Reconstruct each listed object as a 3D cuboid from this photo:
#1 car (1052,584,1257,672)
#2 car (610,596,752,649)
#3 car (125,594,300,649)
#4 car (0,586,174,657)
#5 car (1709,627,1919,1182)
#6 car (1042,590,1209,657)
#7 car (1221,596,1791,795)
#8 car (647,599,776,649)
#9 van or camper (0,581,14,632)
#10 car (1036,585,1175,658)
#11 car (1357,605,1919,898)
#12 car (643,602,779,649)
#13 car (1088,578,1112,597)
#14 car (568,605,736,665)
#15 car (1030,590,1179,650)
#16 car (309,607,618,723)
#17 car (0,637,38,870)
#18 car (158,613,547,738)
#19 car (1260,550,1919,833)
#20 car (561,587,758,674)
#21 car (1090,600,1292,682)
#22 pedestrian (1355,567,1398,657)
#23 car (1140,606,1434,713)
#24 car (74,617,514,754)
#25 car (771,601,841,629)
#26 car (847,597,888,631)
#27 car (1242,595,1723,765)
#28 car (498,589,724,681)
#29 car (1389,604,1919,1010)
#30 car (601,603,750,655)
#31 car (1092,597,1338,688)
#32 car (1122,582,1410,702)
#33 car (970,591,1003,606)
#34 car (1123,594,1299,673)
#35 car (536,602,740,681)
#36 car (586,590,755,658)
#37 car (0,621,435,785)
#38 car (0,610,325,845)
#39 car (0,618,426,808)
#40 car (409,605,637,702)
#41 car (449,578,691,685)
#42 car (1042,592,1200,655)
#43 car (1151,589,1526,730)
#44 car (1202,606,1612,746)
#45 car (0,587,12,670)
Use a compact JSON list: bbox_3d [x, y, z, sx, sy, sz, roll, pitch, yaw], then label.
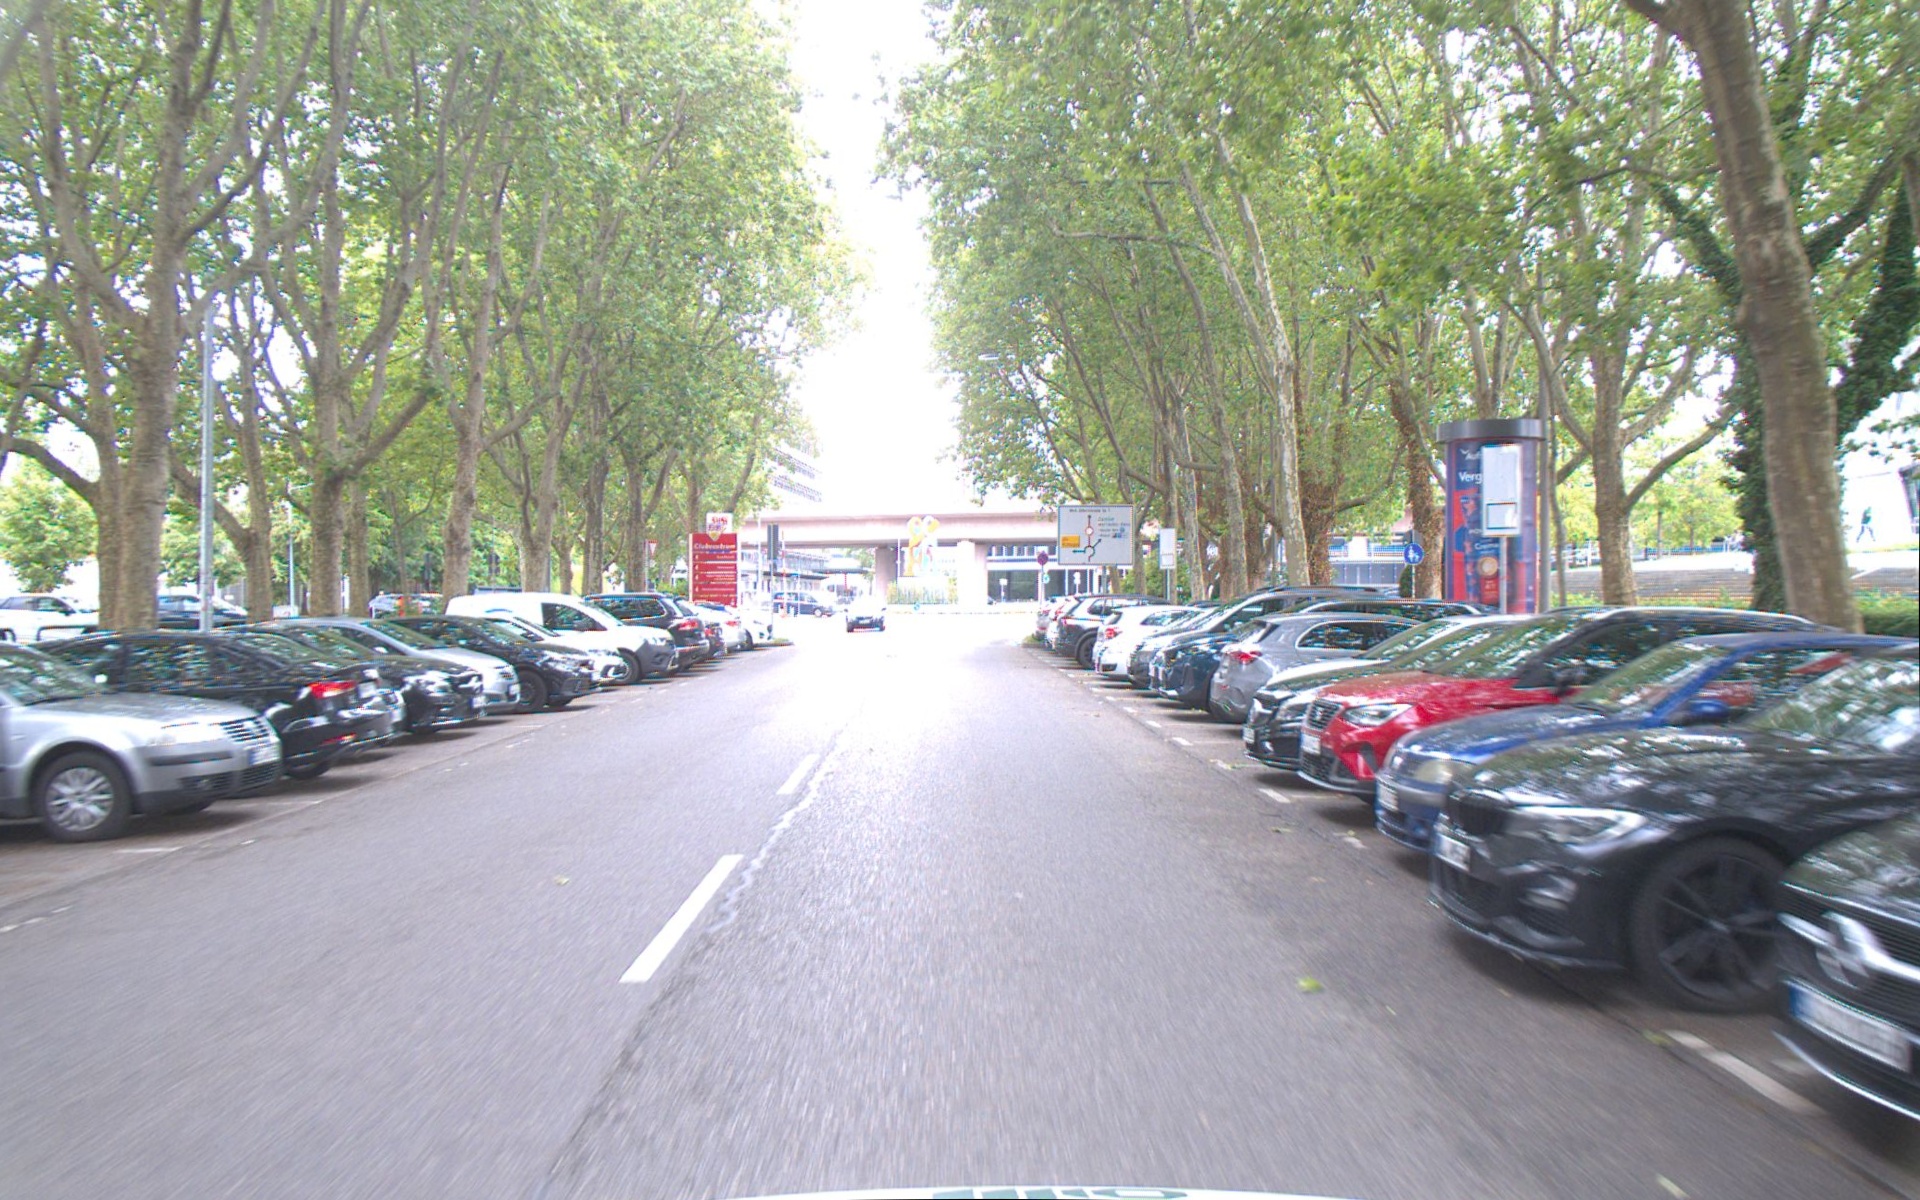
[{"bbox_3d":[4.279,0.608,36.823,4.259,1.791,1.925,1,0,-2],"label":"car"},{"bbox_3d":[-8.294,0.674,49.427,3.912,1.520,1.832,1,-1,-1],"label":"car"},{"bbox_3d":[-22.393,0.649,49.692,4.233,1.575,2.203,1,0,-2],"label":"car"},{"bbox_3d":[-22.797,0.549,42.405,4.233,1.739,2.131,1,-1,-2],"label":"car"},{"bbox_3d":[4.452,0.840,4.648,3.901,1.415,1.739,1,0,1],"label":"car"},{"bbox_3d":[4.384,0.605,44.352,4.257,1.662,1.925,1,0,0],"label":"car"},{"bbox_3d":[4.595,0.785,14.296,4.263,1.528,1.923,1,0,-7],"label":"car"},{"bbox_3d":[-8.131,0.778,54.372,3.911,1.567,1.805,1,-1,1],"label":"car"},{"bbox_3d":[-34.769,0.188,55.950,4.233,1.739,2.131,1,-1,-2],"label":"van or camper"},{"bbox_3d":[4.282,0.623,49.160,3.905,2.049,2.000,1,0,0],"label":"car"},{"bbox_3d":[4.680,0.800,9.417,4.402,1.444,1.829,1,0,1],"label":"car"},{"bbox_3d":[-7.780,0.798,51.966,3.910,1.409,1.912,0,0,3],"label":"car"},{"bbox_3d":[15.841,-1.375,187.280,1.951,2.049,4.002,0,0,17],"label":"car"},{"bbox_3d":[-7.713,0.873,41.672,3.906,1.429,1.885,1,0,-2],"label":"car"},{"bbox_3d":[4.256,0.570,49.319,4.257,1.662,1.925,1,0,0],"label":"car"},{"bbox_3d":[-7.160,0.917,24.104,3.896,1.445,1.756,-3,0,2],"label":"car"},{"bbox_3d":[-7.703,0.994,9.391,3.852,1.388,1.826,-2,0,-2],"label":"car"},{"bbox_3d":[-7.861,0.957,21.715,4.373,1.393,1.879,-2,0,-1],"label":"car"},{"bbox_3d":[4.638,0.620,12.034,4.410,1.828,2.044,1,0,-7],"label":"car"},{"bbox_3d":[-6.989,0.695,38.796,4.229,1.841,1.867,-2,0,-1],"label":"car"},{"bbox_3d":[4.406,0.775,31.816,3.567,1.452,1.664,1,0,-4],"label":"car"},{"bbox_3d":[9.658,0.281,38.385,0.772,2.049,0.596,1,-1,-17],"label":"pedestrian"},{"bbox_3d":[4.745,0.851,24.378,3.958,1.404,1.744,1,0,0],"label":"car"},{"bbox_3d":[-7.736,0.971,19.523,4.371,1.371,1.902,-2,0,1],"label":"car"},{"bbox_3d":[-11.428,1.105,122.995,4.667,2.049,2.285,0,-1,16],"label":"car"},{"bbox_3d":[-4.300,0.636,77.260,1.805,1.536,4.013,1,0,-2],"label":"car"},{"bbox_3d":[5.180,0.768,16.807,4.258,1.528,1.925,1,0,-2],"label":"car"},{"bbox_3d":[-7.176,0.715,34.337,4.229,1.826,2.036,1,-1,-1],"label":"car"},{"bbox_3d":[4.284,0.795,7.046,4.403,1.453,1.932,1,0,0],"label":"car"},{"bbox_3d":[-8.041,0.813,47.032,3.906,1.430,1.861,1,-1,-1],"label":"car"},{"bbox_3d":[4.457,0.728,29.275,4.064,1.483,1.727,1,0,0],"label":"car"},{"bbox_3d":[4.877,0.650,26.756,4.259,1.776,1.836,1,0,-3],"label":"car"},{"bbox_3d":[3.264,-0.187,204.966,1.964,1.803,3.977,0,-1,41],"label":"car"},{"bbox_3d":[5.208,0.675,34.527,3.365,1.518,1.680,-1,0,-2],"label":"car"},{"bbox_3d":[-7.109,0.902,36.779,4.044,1.477,2.014,-3,0,1],"label":"car"},{"bbox_3d":[-7.707,0.625,44.297,4.179,1.575,1.907,-3,0,-3],"label":"car"},{"bbox_3d":[-7.893,1.021,16.967,4.374,1.390,1.859,-2,0,-2],"label":"car"},{"bbox_3d":[-7.124,0.906,11.926,4.373,1.508,1.702,-2,0,-2],"label":"car"},{"bbox_3d":[-6.861,0.950,14.377,3.852,1.422,1.702,-2,0,-2],"label":"car"},{"bbox_3d":[-7.614,0.903,29.115,3.715,1.497,1.760,-2,0,-12],"label":"car"},{"bbox_3d":[-7.420,0.578,31.818,4.233,1.841,1.866,-2,0,-5],"label":"car"},{"bbox_3d":[4.500,0.636,46.702,4.257,1.633,1.925,1,0,0],"label":"car"},{"bbox_3d":[4.857,0.740,21.703,4.496,1.668,1.873,1,0,1],"label":"car"},{"bbox_3d":[5.102,0.843,19.326,4.257,1.438,1.925,1,1,0],"label":"car"},{"bbox_3d":[-22.896,0.583,34.896,4.427,1.793,2.296,1,-1,-2],"label":"car"}]
